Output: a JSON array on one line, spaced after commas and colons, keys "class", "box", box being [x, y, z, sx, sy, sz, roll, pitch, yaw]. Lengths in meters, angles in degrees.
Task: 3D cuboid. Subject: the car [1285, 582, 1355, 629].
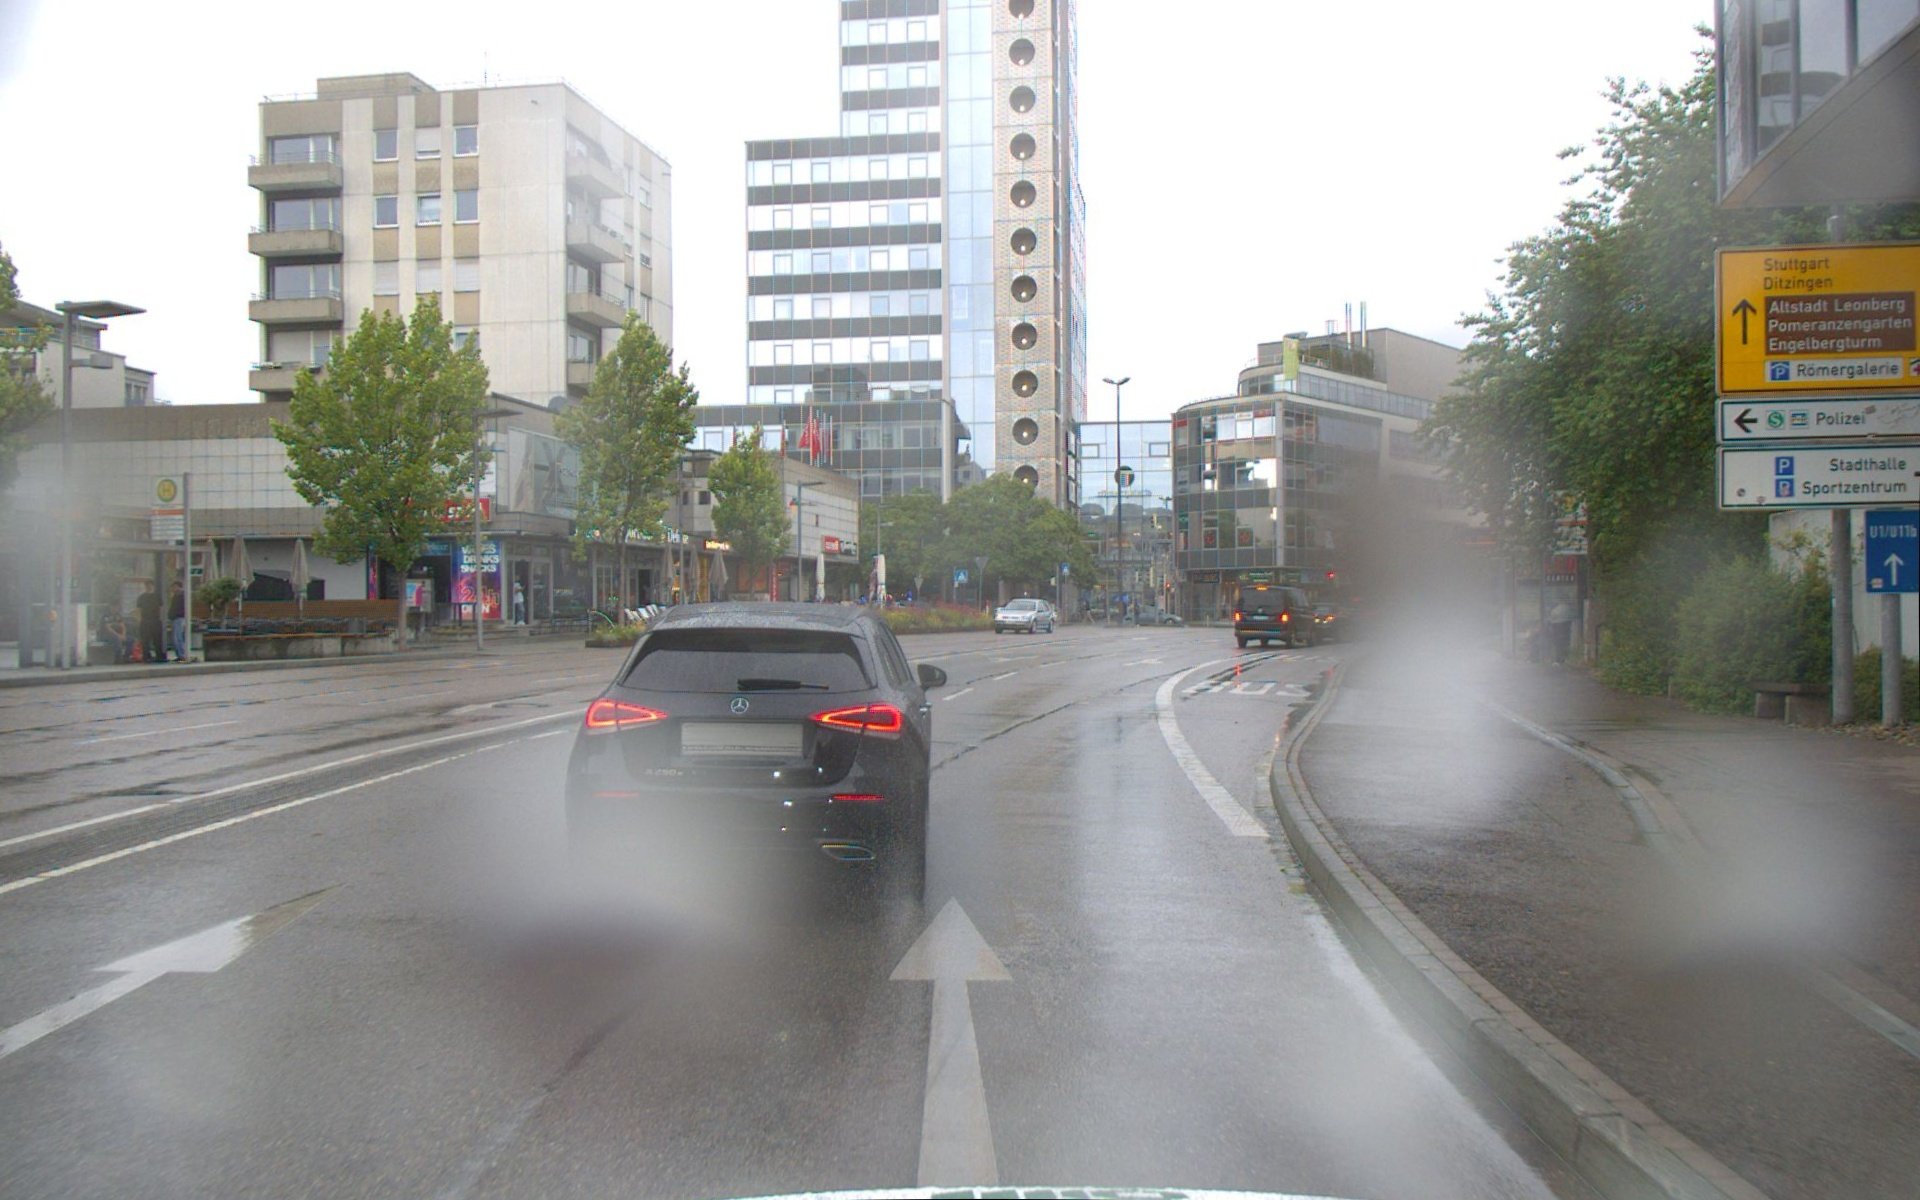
[{"class": "car", "box": [13.422, 0.178, 61.539, 1.848, 1.701, 3.999, 0, 1, 23]}]

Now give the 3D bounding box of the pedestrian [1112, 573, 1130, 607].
[{"class": "pedestrian", "box": [8.597, -0.520, 88.272, 0.788, 1.785, 0.813, 0, 0, 15]}]

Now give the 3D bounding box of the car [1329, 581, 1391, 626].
[{"class": "car", "box": [16.329, 0.131, 67.476, 1.871, 1.755, 3.808, 0, 1, 23]}]

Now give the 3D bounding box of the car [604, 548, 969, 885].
[{"class": "car", "box": [-0.865, 0.504, 9.490, 1.629, 1.507, 4.092, 0, 0, -3]}]

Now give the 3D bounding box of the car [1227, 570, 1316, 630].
[{"class": "car", "box": [10.354, -0.025, 54.828, 2.002, 1.929, 4.137, 0, 1, 24]}]

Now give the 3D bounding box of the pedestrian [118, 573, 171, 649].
[{"class": "pedestrian", "box": [-17.268, 0.230, 35.033, 0.778, 1.598, 0.636, 0, 0, 1]}]

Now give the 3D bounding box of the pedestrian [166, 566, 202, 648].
[{"class": "pedestrian", "box": [-16.549, 0.143, 35.284, 0.476, 1.748, 0.538, 0, 0, 5]}]

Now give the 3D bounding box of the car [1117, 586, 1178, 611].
[{"class": "car", "box": [11.756, -0.089, 103.569, 3.797, 1.544, 1.787, 0, 0, 7]}]

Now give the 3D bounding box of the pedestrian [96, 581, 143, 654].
[{"class": "pedestrian", "box": [-17.344, 0.361, 34.143, 0.621, 1.496, 0.636, 0, 0, 1]}]

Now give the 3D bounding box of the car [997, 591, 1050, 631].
[{"class": "car", "box": [2.699, 0.441, 69.926, 1.656, 1.660, 3.514, 0, 0, 12]}]

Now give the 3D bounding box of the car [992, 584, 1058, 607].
[{"class": "car", "box": [3.982, -0.270, 101.197, 3.902, 1.408, 1.729, 0, 0, 6]}]
